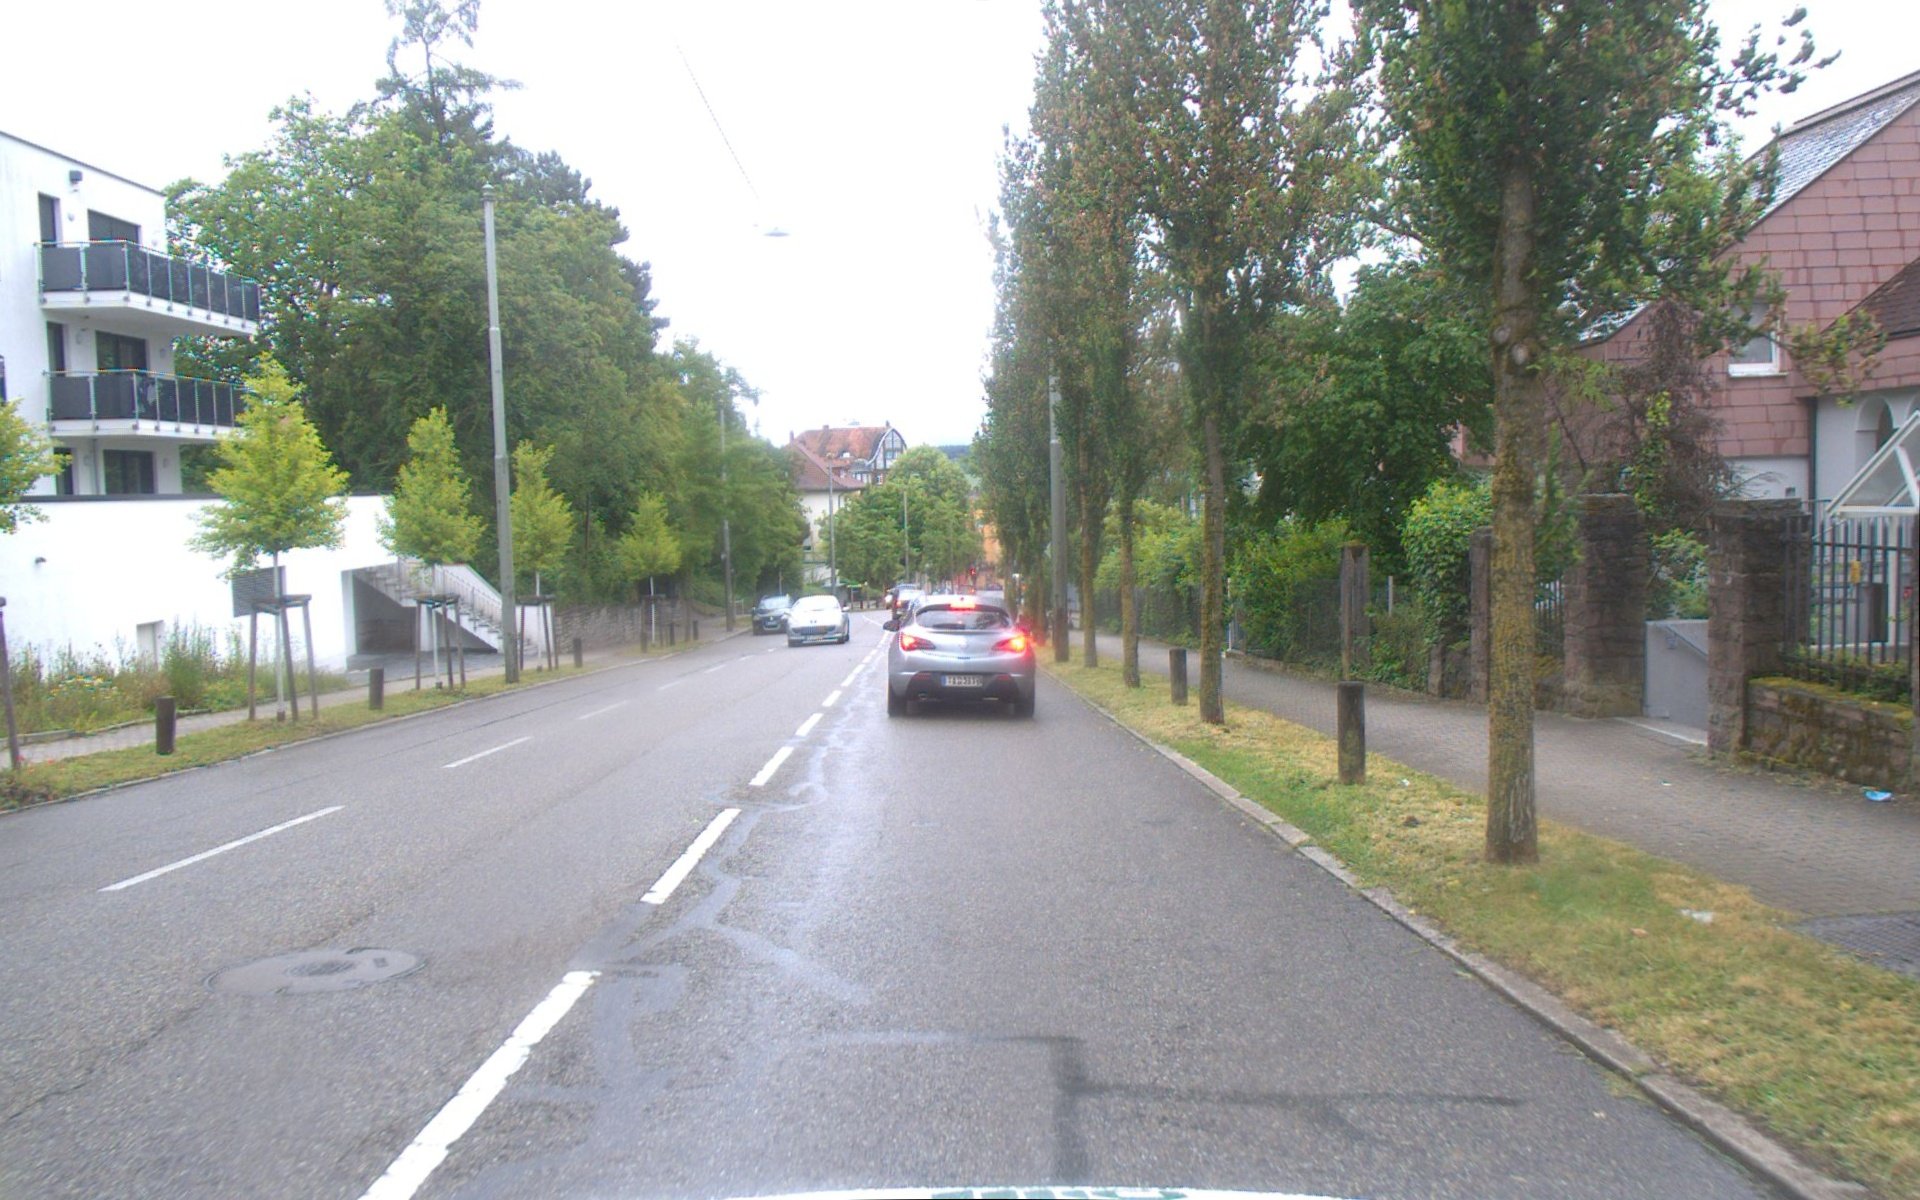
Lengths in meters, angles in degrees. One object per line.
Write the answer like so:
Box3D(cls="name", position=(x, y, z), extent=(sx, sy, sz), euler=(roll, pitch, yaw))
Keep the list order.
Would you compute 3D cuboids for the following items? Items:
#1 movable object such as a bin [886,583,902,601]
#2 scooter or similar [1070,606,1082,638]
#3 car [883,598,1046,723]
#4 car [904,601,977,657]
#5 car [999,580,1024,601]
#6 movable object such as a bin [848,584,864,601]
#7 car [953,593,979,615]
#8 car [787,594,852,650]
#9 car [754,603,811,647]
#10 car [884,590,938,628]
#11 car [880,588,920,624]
Box3D(cls="movable object such as a bin", position=(-5.229, -0.670, 131.469), extent=(1.245, 1.411, 0.489), euler=(0, 1, 4))
Box3D(cls="scooter or similar", position=(4.670, 0.869, 66.566), extent=(0.336, 1.276, 1.267), euler=(1, -1, -2))
Box3D(cls="car", position=(0.016, 0.707, 21.323), extent=(1.906, 1.457, 3.883), euler=(0, 0, -1))
Box3D(cls="car", position=(-0.464, 0.713, 43.087), extent=(1.760, 1.346, 4.000), euler=(-1, 0, 1))
Box3D(cls="car", position=(5.487, -1.025, 175.467), extent=(2.284, 2.071, 4.739), euler=(1, 1, 6))
Box3D(cls="movable object such as a bin", position=(-8.676, -0.598, 137.545), extent=(1.245, 1.411, 0.489), euler=(0, 1, 4))
Box3D(cls="car", position=(0.476, 0.317, 129.082), extent=(1.717, 1.680, 4.002), euler=(1, 0, 4))
Box3D(cls="car", position=(-4.214, 0.648, 49.972), extent=(1.727, 1.512, 3.998), euler=(-3, 0, -3))
Box3D(cls="car", position=(-7.062, 0.985, 66.052), extent=(1.710, 1.576, 3.918), euler=(-4, 0, 1))
Box3D(cls="car", position=(-2.123, 0.362, 72.580), extent=(1.919, 1.497, 3.953), euler=(1, 1, 4))
Box3D(cls="car", position=(-3.261, 0.315, 90.472), extent=(1.731, 1.812, 3.979), euler=(1, 1, 4))
